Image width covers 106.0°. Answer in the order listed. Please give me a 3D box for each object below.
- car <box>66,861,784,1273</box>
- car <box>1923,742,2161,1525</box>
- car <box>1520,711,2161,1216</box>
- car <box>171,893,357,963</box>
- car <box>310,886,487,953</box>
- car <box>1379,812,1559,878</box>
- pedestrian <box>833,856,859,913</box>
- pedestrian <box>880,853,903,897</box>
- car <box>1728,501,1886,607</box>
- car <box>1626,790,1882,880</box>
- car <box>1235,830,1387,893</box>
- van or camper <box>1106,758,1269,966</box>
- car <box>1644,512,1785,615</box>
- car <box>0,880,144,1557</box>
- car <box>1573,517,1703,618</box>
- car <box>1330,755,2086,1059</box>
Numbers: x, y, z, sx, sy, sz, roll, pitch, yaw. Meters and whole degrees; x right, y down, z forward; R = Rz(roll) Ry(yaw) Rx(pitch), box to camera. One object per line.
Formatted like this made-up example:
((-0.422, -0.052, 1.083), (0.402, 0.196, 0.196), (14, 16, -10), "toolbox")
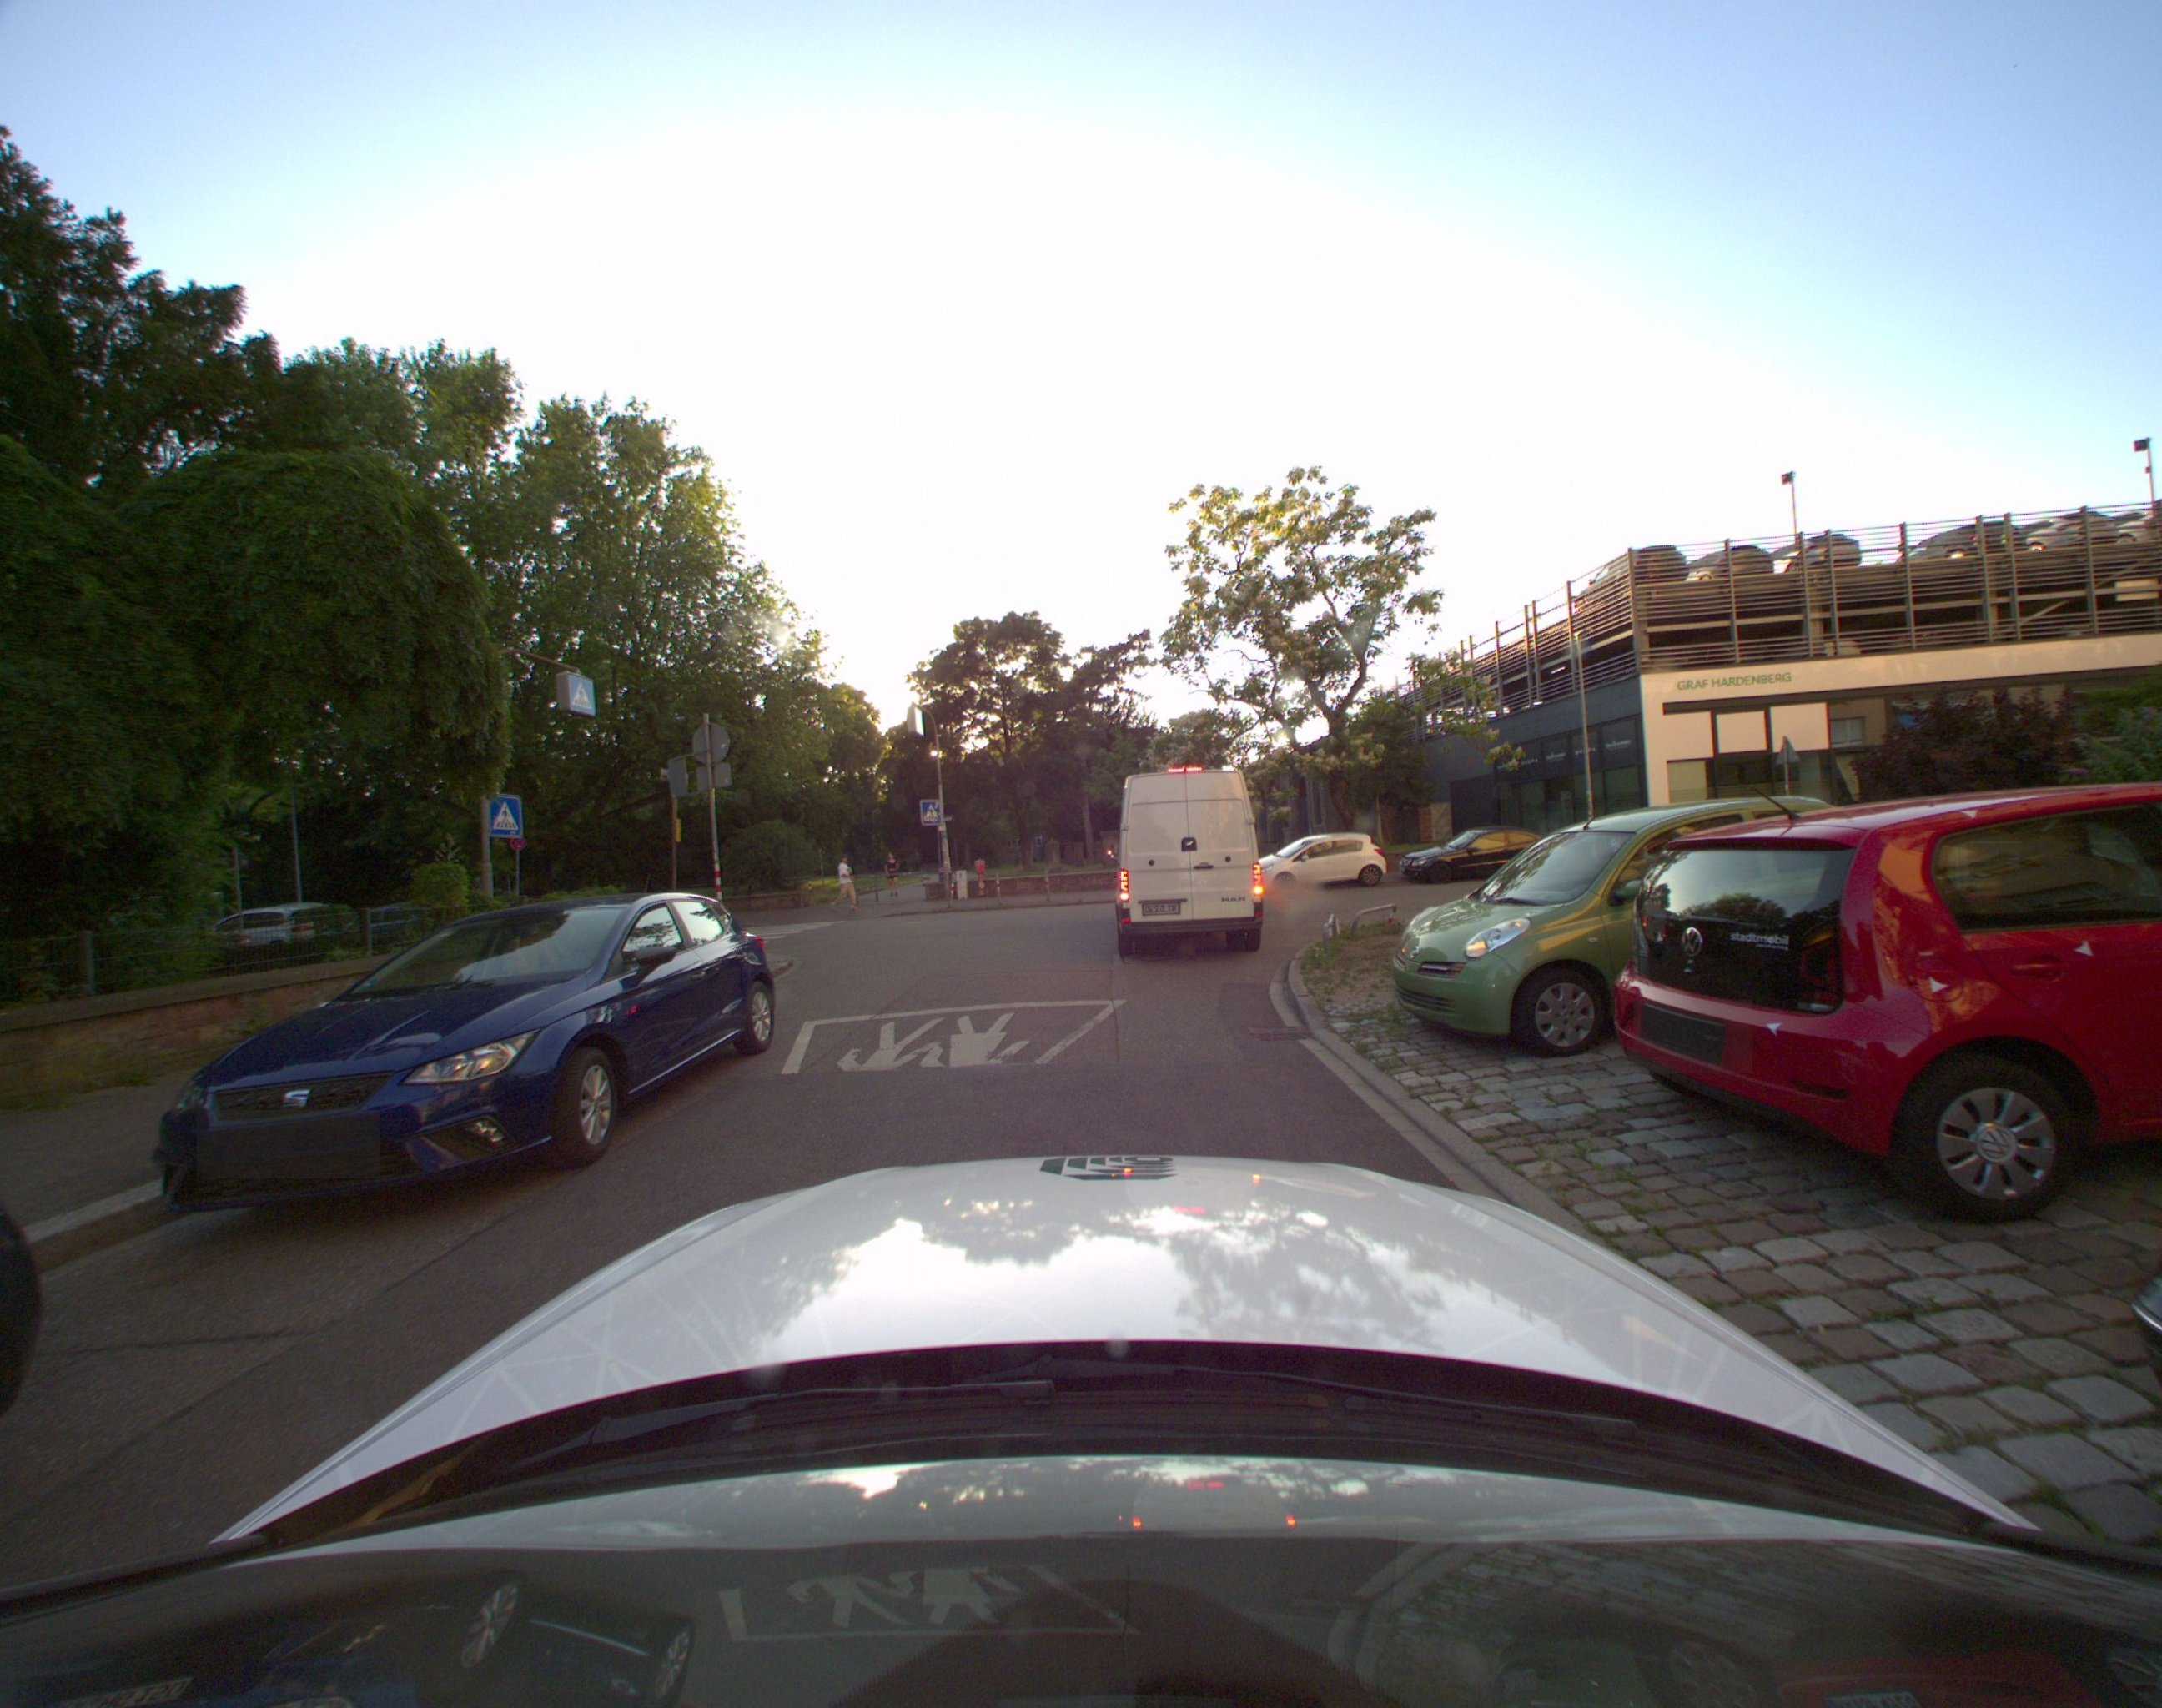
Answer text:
((-3.515, 0.928, 5.432), (1.730, 1.567, 3.786), (-5, 0, -4), "car")
((4.260, 0.347, 1.067), (4.392, 1.531, 1.844), (-5, -2, -2), "car")
((4.800, 0.193, 3.763), (4.386, 1.631, 1.847), (-8, 0, 2), "car")
((-25.569, 2.292, 25.587), (3.852, 1.562, 1.826), (-4, 6, 4), "car")
((-20.865, 1.979, 24.999), (3.831, 1.491, 1.828), (-4, 6, 7), "car")
((11.105, -0.254, 23.551), (4.273, 1.503, 1.826), (-5, 0, 5), "car")
((-7.693, 0.996, 26.669), (0.591, 1.809, 0.621), (-2, 0, 2), "pedestrian")
((-7.325, 0.790, 31.503), (0.644, 1.648, 0.674), (-2, 0, 1), "pedestrian")
((24.514, -10.074, 27.718), (1.984, 2.013, 4.007), (-3, 0, 6), "car")
((14.325, -0.387, 17.535), (3.819, 1.523, 1.826), (-5, 0, 5), "car")
((6.686, 0.187, 23.971), (3.844, 1.574, 1.957), (-3, 0, -2), "car")
((1.558, 0.100, 13.805), (1.985, 2.618, 6.408), (-3, 0, 3), "van or camper")
((21.804, -9.946, 28.252), (1.984, 2.013, 4.007), (-3, 0, 6), "car")
((-3.382, 0.934, 0.295), (1.729, 1.567, 3.694), (-5, 0, -2), "car")
((19.249, -9.850, 28.384), (1.984, 2.013, 4.007), (-3, 0, 6), "car")
((4.464, 0.358, 6.319), (4.392, 1.631, 1.844), (-5, -2, -2), "car")
